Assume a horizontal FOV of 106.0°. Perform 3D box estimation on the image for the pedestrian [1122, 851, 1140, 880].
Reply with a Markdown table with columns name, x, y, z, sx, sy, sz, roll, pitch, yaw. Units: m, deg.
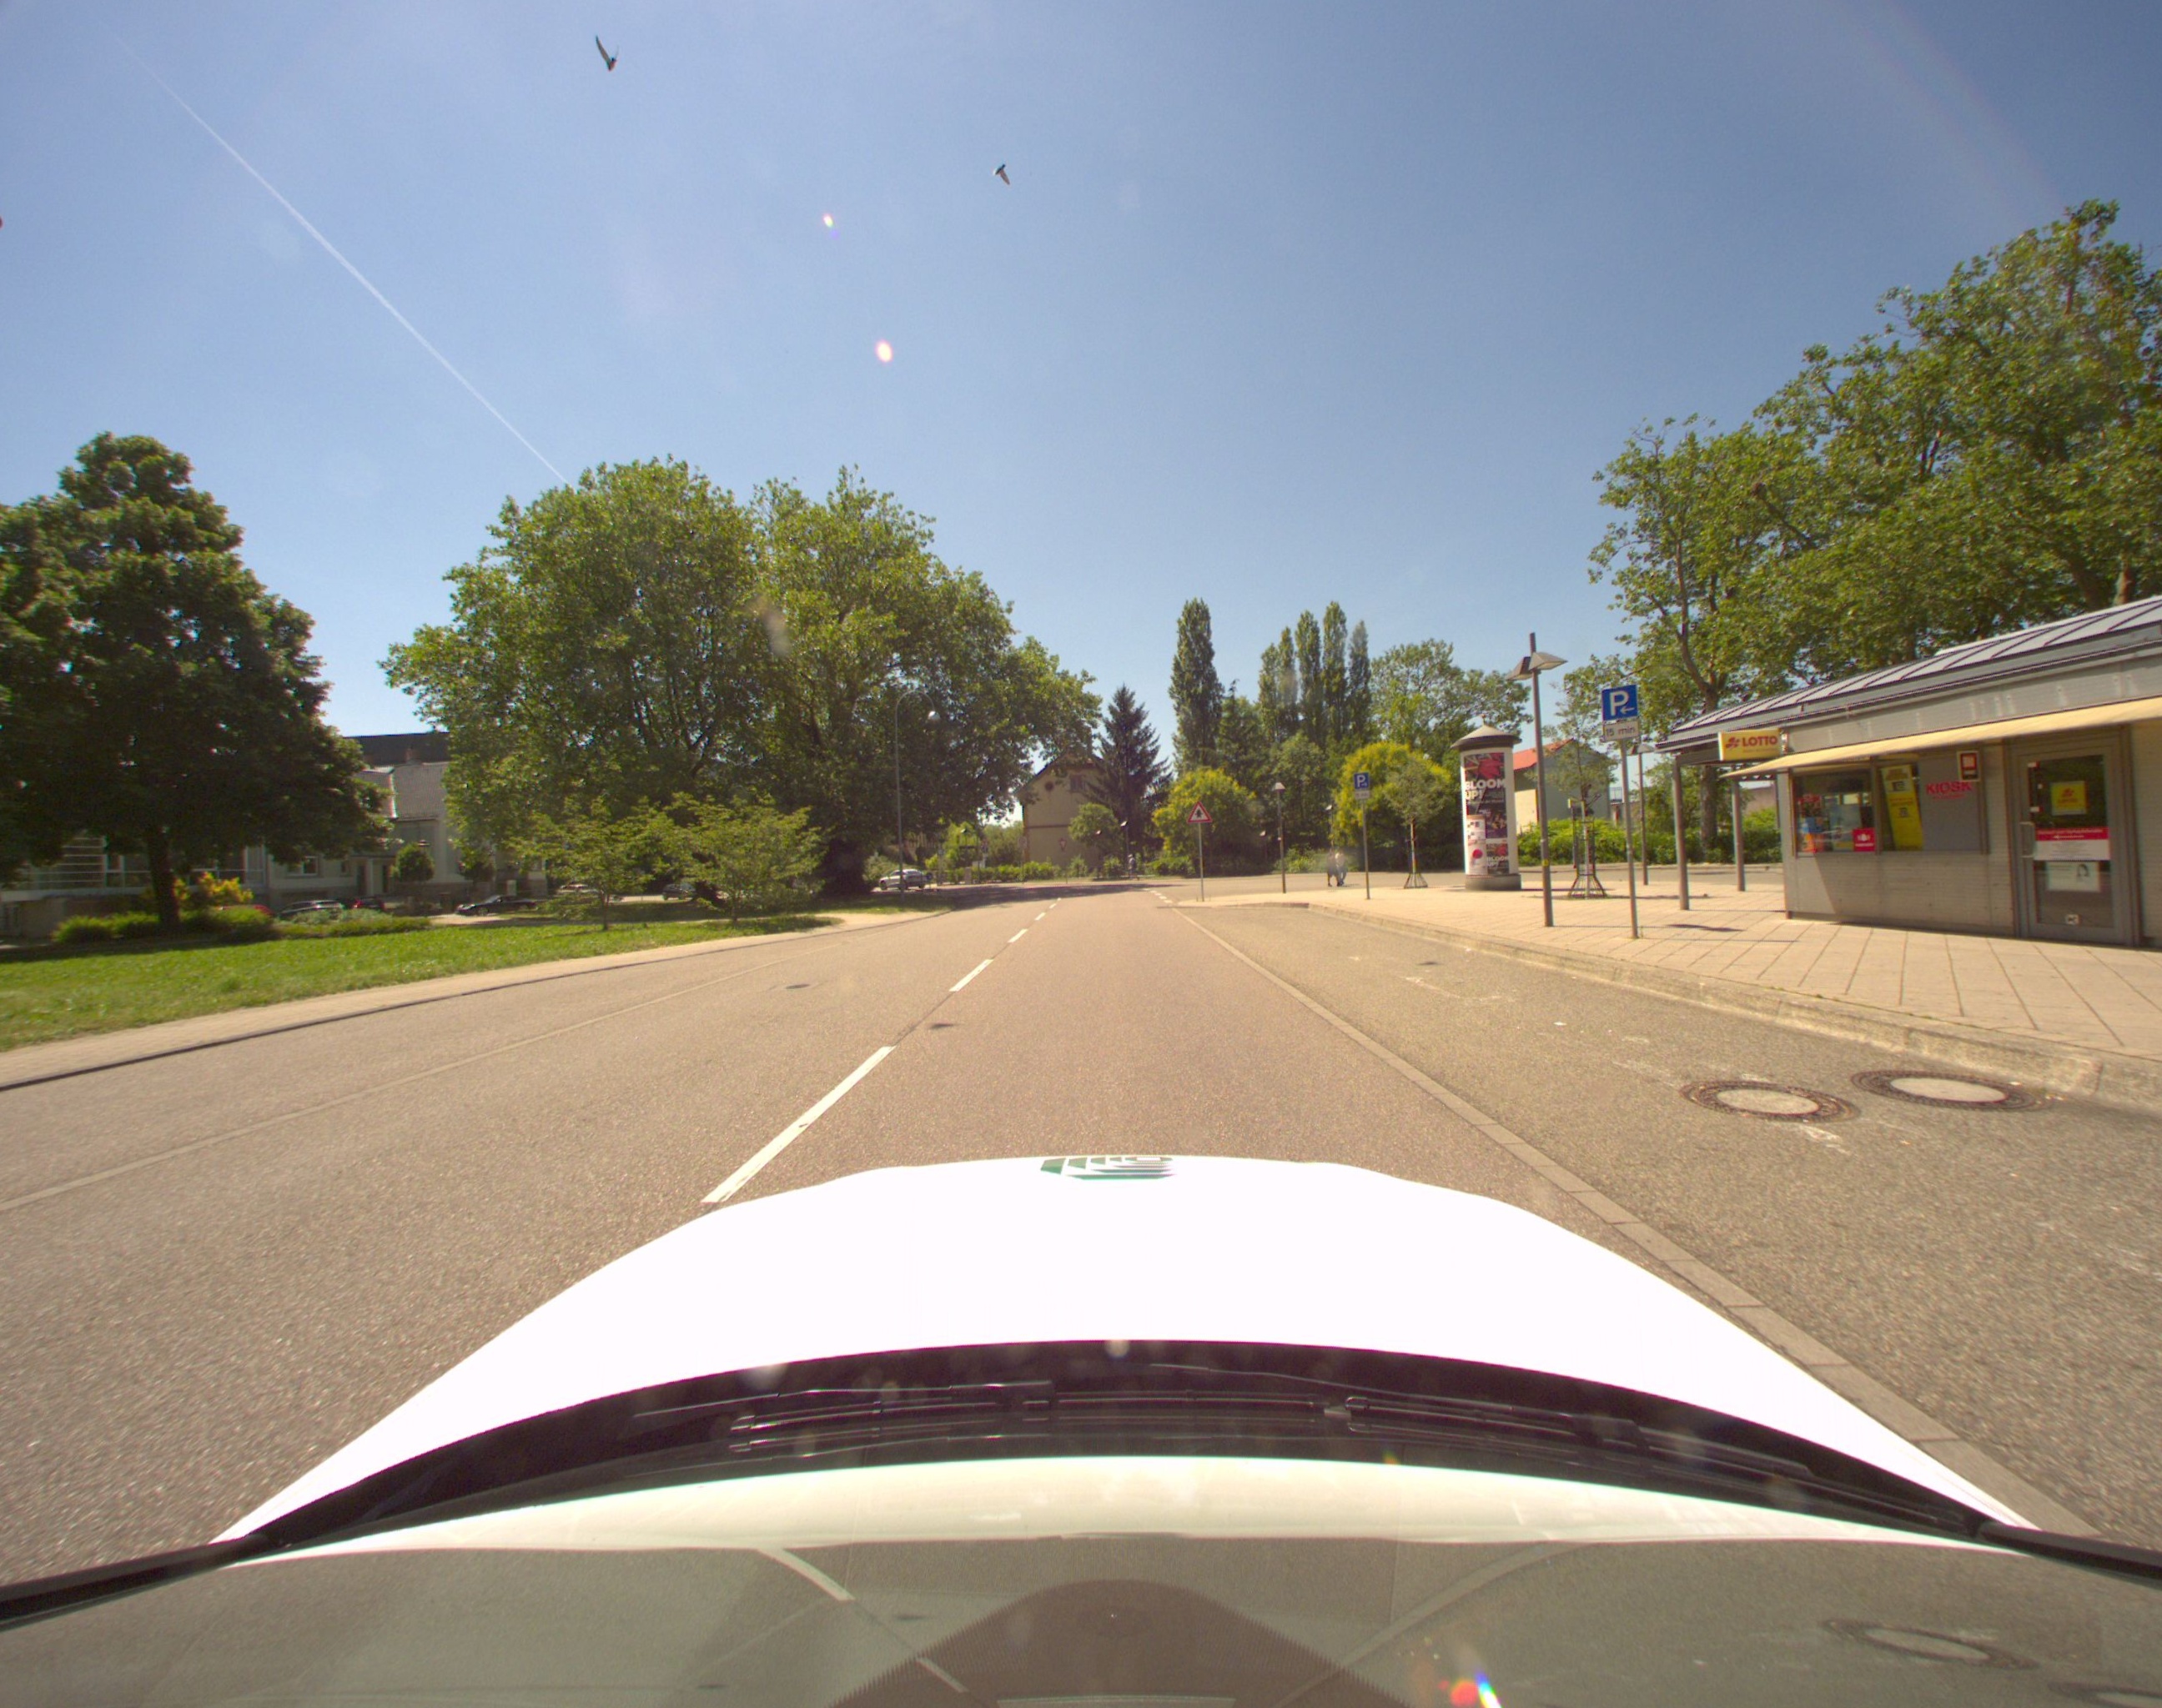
| name | x | y | z | sx | sy | sz | roll | pitch | yaw |
| --- | --- | --- | --- | --- | --- | --- | --- | --- | --- |
| pedestrian | 3.462 | 0.806 | 56.527 | 0.810 | 1.965 | 0.847 | -2 | -1 | -39 |

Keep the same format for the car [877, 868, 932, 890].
| name | x | y | z | sx | sy | sz | roll | pitch | yaw |
| --- | --- | --- | --- | --- | --- | --- | --- | --- | --- |
| car | -14.610 | 2.109 | 67.228 | 4.717 | 1.627 | 2.001 | -3 | -1 | 43 |

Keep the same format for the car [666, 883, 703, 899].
| name | x | y | z | sx | sy | sz | roll | pitch | yaw |
| --- | --- | --- | --- | --- | --- | --- | --- | --- | --- |
| car | -35.505 | 3.279 | 72.831 | 1.652 | 1.310 | 4.145 | -2 | -1 | -45 |

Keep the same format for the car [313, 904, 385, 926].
| name | x | y | z | sx | sy | sz | roll | pitch | yaw |
| --- | --- | --- | --- | --- | --- | --- | --- | --- | --- |
| car | -48.188 | 4.023 | 53.615 | 3.695 | 1.252 | 1.720 | -3 | -1 | 14 |

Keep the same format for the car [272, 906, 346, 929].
| name | x | y | z | sx | sy | sz | roll | pitch | yaw |
| --- | --- | --- | --- | --- | --- | --- | --- | --- | --- |
| car | -47.906 | 3.944 | 50.563 | 3.536 | 1.185 | 1.566 | -3 | -1 | 12 |

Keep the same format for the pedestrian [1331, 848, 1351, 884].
| name | x | y | z | sx | sy | sz | roll | pitch | yaw |
| --- | --- | --- | --- | --- | --- | --- | --- | --- | --- |
| pedestrian | 12.109 | 0.566 | 37.907 | 0.713 | 1.650 | 0.755 | -3 | -3 | 29 |

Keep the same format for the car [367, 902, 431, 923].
| name | x | y | z | sx | sy | sz | roll | pitch | yaw |
| --- | --- | --- | --- | --- | --- | --- | --- | --- | --- |
| car | -46.721 | 4.007 | 55.790 | 3.536 | 1.185 | 1.483 | -3 | -1 | 12 |

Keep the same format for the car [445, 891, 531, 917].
| name | x | y | z | sx | sy | sz | roll | pitch | yaw |
| --- | --- | --- | --- | --- | --- | --- | --- | --- | --- |
| car | -37.718 | 3.170 | 51.872 | 1.799 | 1.310 | 4.013 | -3 | -1 | 27 |

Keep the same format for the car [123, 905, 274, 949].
| name | x | y | z | sx | sy | sz | roll | pitch | yaw |
| --- | --- | --- | --- | --- | --- | --- | --- | --- | --- |
| car | -45.625 | 3.736 | 42.284 | 1.971 | 1.846 | 4.909 | -3 | -1 | 19 |

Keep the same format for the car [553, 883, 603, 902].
| name | x | y | z | sx | sy | sz | roll | pitch | yaw |
| --- | --- | --- | --- | --- | --- | --- | --- | --- | --- |
| car | -49.214 | 3.775 | 79.715 | 3.958 | 1.807 | 1.910 | -1 | -2 | 15 |

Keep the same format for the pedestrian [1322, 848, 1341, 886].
| name | x | y | z | sx | sy | sz | roll | pitch | yaw |
| --- | --- | --- | --- | --- | --- | --- | --- | --- | --- |
| pedestrian | 11.315 | 0.601 | 36.782 | 0.629 | 1.650 | 0.755 | -3 | -3 | 29 |
